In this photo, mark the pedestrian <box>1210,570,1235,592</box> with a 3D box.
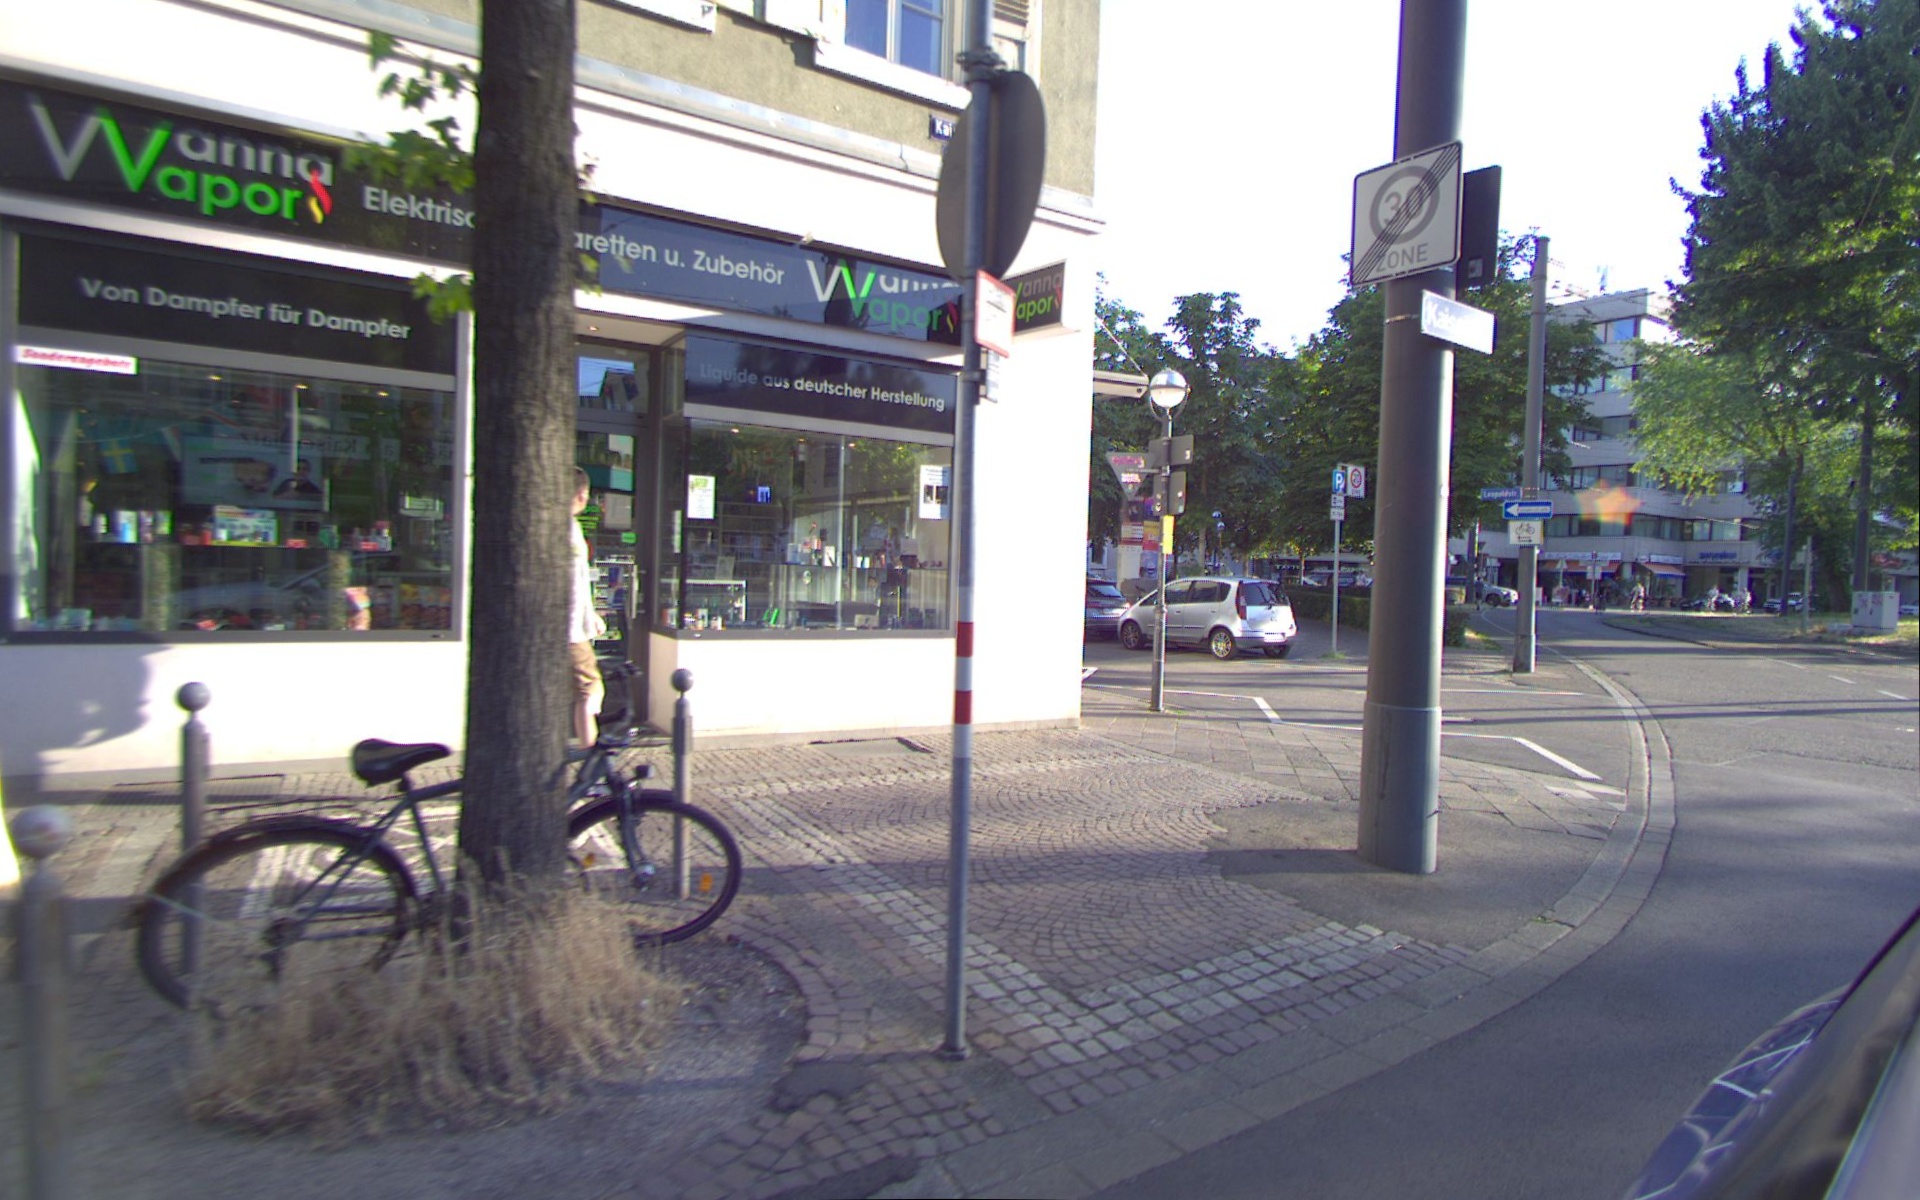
[{"bbox_3d":[15.060,-1.119,58.144,0.942,1.241,1.373,1,1,-5],"label":"pedestrian"}]

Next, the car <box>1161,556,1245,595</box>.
[{"bbox_3d":[14.862,-1.534,62.210,2.054,2.268,4.883,0,2,-34],"label":"car"}]

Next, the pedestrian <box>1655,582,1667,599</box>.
[{"bbox_3d":[57.834,-0.770,83.517,0.581,1.337,0.611,0,3,-40],"label":"pedestrian"}]

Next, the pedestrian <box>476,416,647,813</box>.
[{"bbox_3d":[-2.285,0.059,5.755,0.829,2.038,0.845,0,2,-26],"label":"pedestrian"}]

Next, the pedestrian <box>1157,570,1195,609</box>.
[{"bbox_3d":[7.114,-0.346,33.335,0.969,1.258,0.780,0,1,-35],"label":"pedestrian"}]

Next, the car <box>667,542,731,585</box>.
[{"bbox_3d":[-12.948,-1.816,50.059,1.960,2.038,4.442,0,2,-30],"label":"car"}]

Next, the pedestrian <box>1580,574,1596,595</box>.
[{"bbox_3d":[48.138,-1.173,77.566,0.777,1.555,0.570,1,3,-3],"label":"pedestrian"}]

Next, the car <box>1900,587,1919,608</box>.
[{"bbox_3d":[77.487,-0.145,80.103,4.434,1.625,2.002,1,1,-4],"label":"car"}]

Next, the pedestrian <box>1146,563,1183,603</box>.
[{"bbox_3d":[7.305,-0.609,36.184,0.994,1.372,0.734,1,3,-18],"label":"pedestrian"}]

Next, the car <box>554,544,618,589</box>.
[{"bbox_3d":[-17.664,-1.602,47.692,1.983,1.987,4.517,0,2,-32],"label":"car"}]

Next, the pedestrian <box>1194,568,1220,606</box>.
[{"bbox_3d":[8.277,-0.440,33.926,0.600,1.259,0.570,1,2,-21],"label":"pedestrian"}]

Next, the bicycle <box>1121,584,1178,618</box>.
[{"bbox_3d":[5.485,0.025,29.276,1.498,0.941,0.556,1,2,-8],"label":"bicycle"}]

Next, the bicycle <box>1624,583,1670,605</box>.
[{"bbox_3d":[44.157,-0.396,65.028,3.178,1.378,1.274,0,2,-33],"label":"bicycle"}]

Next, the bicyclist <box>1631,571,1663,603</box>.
[{"bbox_3d":[44.095,-0.839,64.961,1.340,2.016,1.237,0,2,-33],"label":"bicyclist"}]

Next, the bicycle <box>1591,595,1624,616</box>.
[{"bbox_3d":[35.187,0.288,55.035,0.923,1.090,2.209,2,2,17],"label":"bicycle"}]

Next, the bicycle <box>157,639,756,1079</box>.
[{"bbox_3d":[-1.516,0.706,3.273,1.666,1.090,0.355,0,2,-34],"label":"bicycle"}]

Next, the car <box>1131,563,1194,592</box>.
[{"bbox_3d":[14.502,-1.612,72.557,3.919,1.908,1.956,1,4,-6],"label":"car"}]

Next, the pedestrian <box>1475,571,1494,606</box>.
[{"bbox_3d":[26.895,-0.590,51.897,0.631,1.765,0.588,1,1,-39],"label":"pedestrian"}]

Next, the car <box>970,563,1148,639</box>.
[{"bbox_3d":[2.209,-0.044,24.022,1.705,1.532,4.678,0,2,-32],"label":"car"}]

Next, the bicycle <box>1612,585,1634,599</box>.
[{"bbox_3d":[52.966,-0.618,80.874,1.436,1.004,0.525,5,5,33],"label":"bicycle"}]

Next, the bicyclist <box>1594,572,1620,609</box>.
[{"bbox_3d":[35.243,-0.516,55.139,0.912,1.998,1.107,1,1,18],"label":"bicyclist"}]

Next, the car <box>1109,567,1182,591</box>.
[{"bbox_3d":[11.363,-1.298,62.022,3.986,1.415,1.969,2,2,43],"label":"car"}]

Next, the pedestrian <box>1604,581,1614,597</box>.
[{"bbox_3d":[52.582,-0.880,81.979,0.412,1.208,0.463,1,6,-30],"label":"pedestrian"}]

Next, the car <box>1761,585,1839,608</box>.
[{"bbox_3d":[65.150,-0.299,78.549,4.434,1.625,2.002,1,1,-4],"label":"car"}]

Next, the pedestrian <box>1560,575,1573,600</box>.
[{"bbox_3d":[47.139,-1.009,78.664,0.598,1.859,0.569,6,6,27],"label":"pedestrian"}]

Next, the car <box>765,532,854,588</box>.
[{"bbox_3d":[-5.966,-1.579,39.716,1.960,2.038,4.442,0,2,-30],"label":"car"}]

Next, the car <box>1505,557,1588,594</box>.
[{"bbox_3d":[48.588,-2.100,84.007,2.139,2.760,5.440,0,4,-33],"label":"car"}]

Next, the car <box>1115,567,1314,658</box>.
[{"bbox_3d":[4.894,0.179,19.882,1.705,1.532,3.581,0,2,-32],"label":"car"}]

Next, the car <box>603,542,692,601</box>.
[{"bbox_3d":[-11.352,-1.041,36.548,1.983,1.987,4.517,0,2,-32],"label":"car"}]

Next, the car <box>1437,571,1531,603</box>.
[{"bbox_3d":[32.046,-0.809,61.989,1.965,1.793,4.705,0,2,-40],"label":"car"}]

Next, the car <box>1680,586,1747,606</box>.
[{"bbox_3d":[57.953,-0.313,77.868,3.920,1.460,1.797,1,1,-5],"label":"car"}]
